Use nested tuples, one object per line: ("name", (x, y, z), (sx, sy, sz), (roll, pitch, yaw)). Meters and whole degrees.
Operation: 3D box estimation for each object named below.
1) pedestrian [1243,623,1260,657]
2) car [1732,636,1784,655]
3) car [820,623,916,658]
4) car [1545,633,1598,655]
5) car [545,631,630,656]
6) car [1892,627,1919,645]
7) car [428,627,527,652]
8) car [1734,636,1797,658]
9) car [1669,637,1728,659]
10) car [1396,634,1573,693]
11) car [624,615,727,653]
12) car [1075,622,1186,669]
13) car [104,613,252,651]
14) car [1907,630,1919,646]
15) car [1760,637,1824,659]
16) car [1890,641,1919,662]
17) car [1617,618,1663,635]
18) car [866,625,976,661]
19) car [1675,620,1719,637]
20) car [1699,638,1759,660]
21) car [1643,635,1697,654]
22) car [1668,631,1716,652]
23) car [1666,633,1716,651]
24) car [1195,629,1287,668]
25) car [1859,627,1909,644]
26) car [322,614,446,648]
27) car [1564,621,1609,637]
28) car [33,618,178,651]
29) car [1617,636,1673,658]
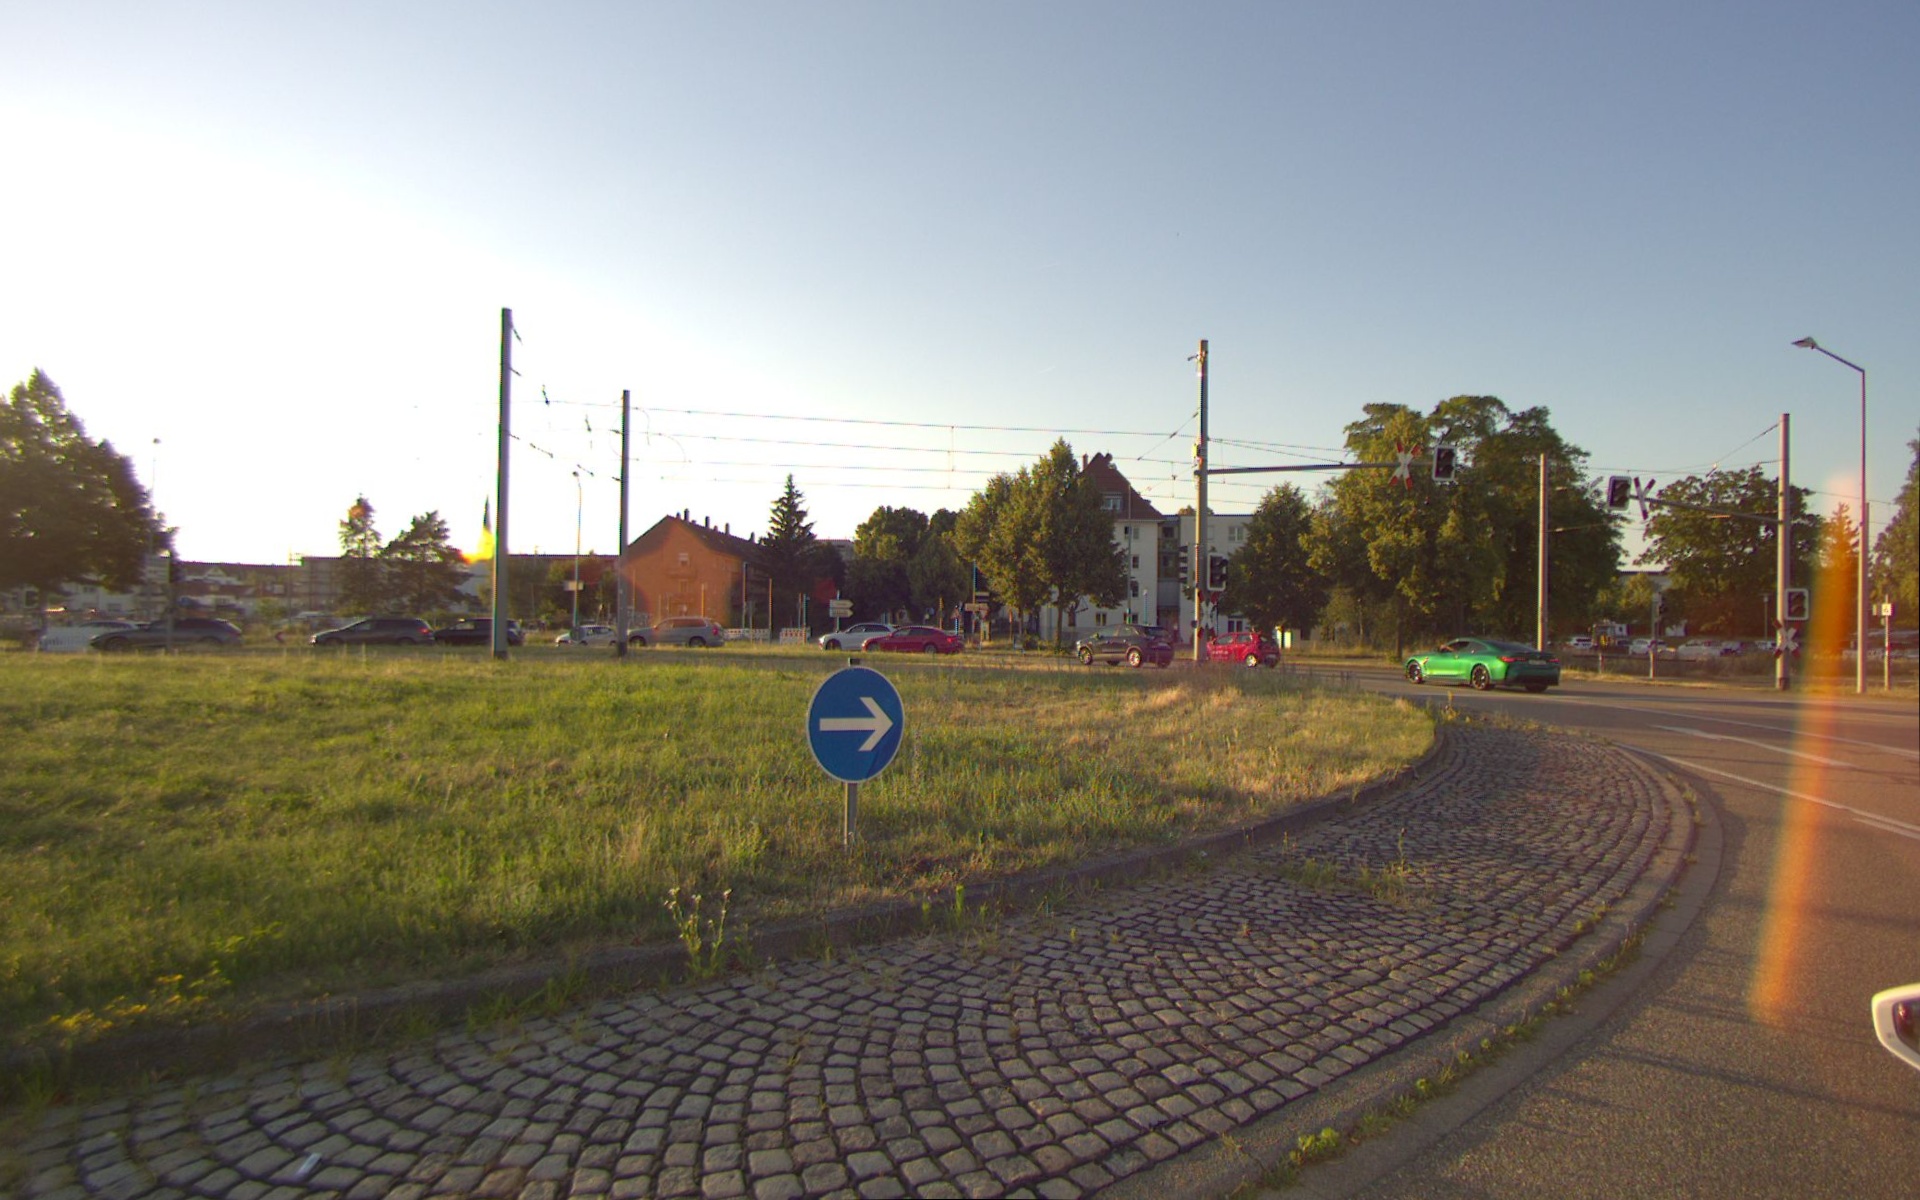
("pedestrian", (16.824, 2.308, 57.887), (0.614, 1.918, 0.662), (2, 0, -35))
("car", (77.332, 4.423, 97.418), (3.938, 1.684, 1.894), (0, -1, 39))
("car", (-4.804, 2.103, 52.864), (4.620, 1.728, 2.001), (1, -1, 10))
("car", (49.400, 3.547, 81.232), (1.960, 1.625, 4.002), (1, -1, 3))
("car", (-21.680, 2.511, 58.689), (2.071, 1.385, 4.462), (0, -1, 26))
("car", (107.437, 4.034, 112.601), (3.919, 2.040, 2.001), (1, -1, 11))
("car", (-22.999, 1.892, 48.018), (3.931, 1.119, 1.685), (1, -1, -13))
("car", (64.001, 3.719, 79.934), (1.960, 1.625, 4.002), (1, -1, 3))
("car", (59.501, 3.852, 81.041), (1.960, 1.625, 4.002), (1, -1, 3))
("car", (14.367, 1.693, 27.857), (1.963, 1.389, 4.728), (1, -1, -8))
("car", (-14.074, 1.662, 49.861), (4.537, 1.759, 1.896), (1, -1, 2))
("car", (6.336, 1.666, 37.659), (1.877, 1.605, 3.960), (1, -1, -35))
("car", (-30.677, 1.255, 39.567), (4.299, 1.394, 1.985), (1, -1, -29))
("car", (105.569, 4.117, 108.724), (1.971, 1.728, 3.979), (1, -1, -22))
("car", (66.354, 3.792, 80.173), (1.960, 1.625, 4.002), (1, -1, 3))
("car", (76.338, 4.091, 79.478), (1.960, 1.625, 4.002), (1, -1, 3))
("car", (86.238, 3.388, 127.443), (4.505, 2.040, 2.001), (1, -1, 5))
("car", (-1.701, 1.827, 43.460), (4.414, 1.410, 1.893), (0, -1, 27))
("car", (93.189, 3.595, 127.035), (4.033, 2.040, 2.001), (1, -1, 4))
("car", (61.620, 3.914, 80.563), (1.960, 1.625, 4.002), (1, -1, 3))
("car", (69.195, 4.333, 97.934), (3.919, 1.684, 1.904), (1, -1, 5))
("car", (75.599, 4.226, 103.807), (3.934, 2.040, 1.994), (0, -1, 35))
("car", (73.146, 4.192, 100.579), (3.934, 1.684, 1.994), (0, -1, 35))
("car", (11.865, 2.010, 42.576), (1.629, 1.519, 3.450), (2, -1, -40))
("car", (108.017, 4.134, 117.453), (3.919, 1.840, 2.001), (1, -1, 5))
("car", (-24.314, 1.314, 42.569), (4.323, 1.394, 1.989), (1, -1, -24))
("car", (79.563, 3.657, 127.627), (4.507, 2.040, 2.000), (1, -1, 0))
("car", (-37.777, 1.524, 44.547), (4.389, 1.385, 2.106), (1, -1, -12))
("car", (54.742, 3.704, 80.339), (1.960, 1.625, 4.002), (1, -1, 3))
